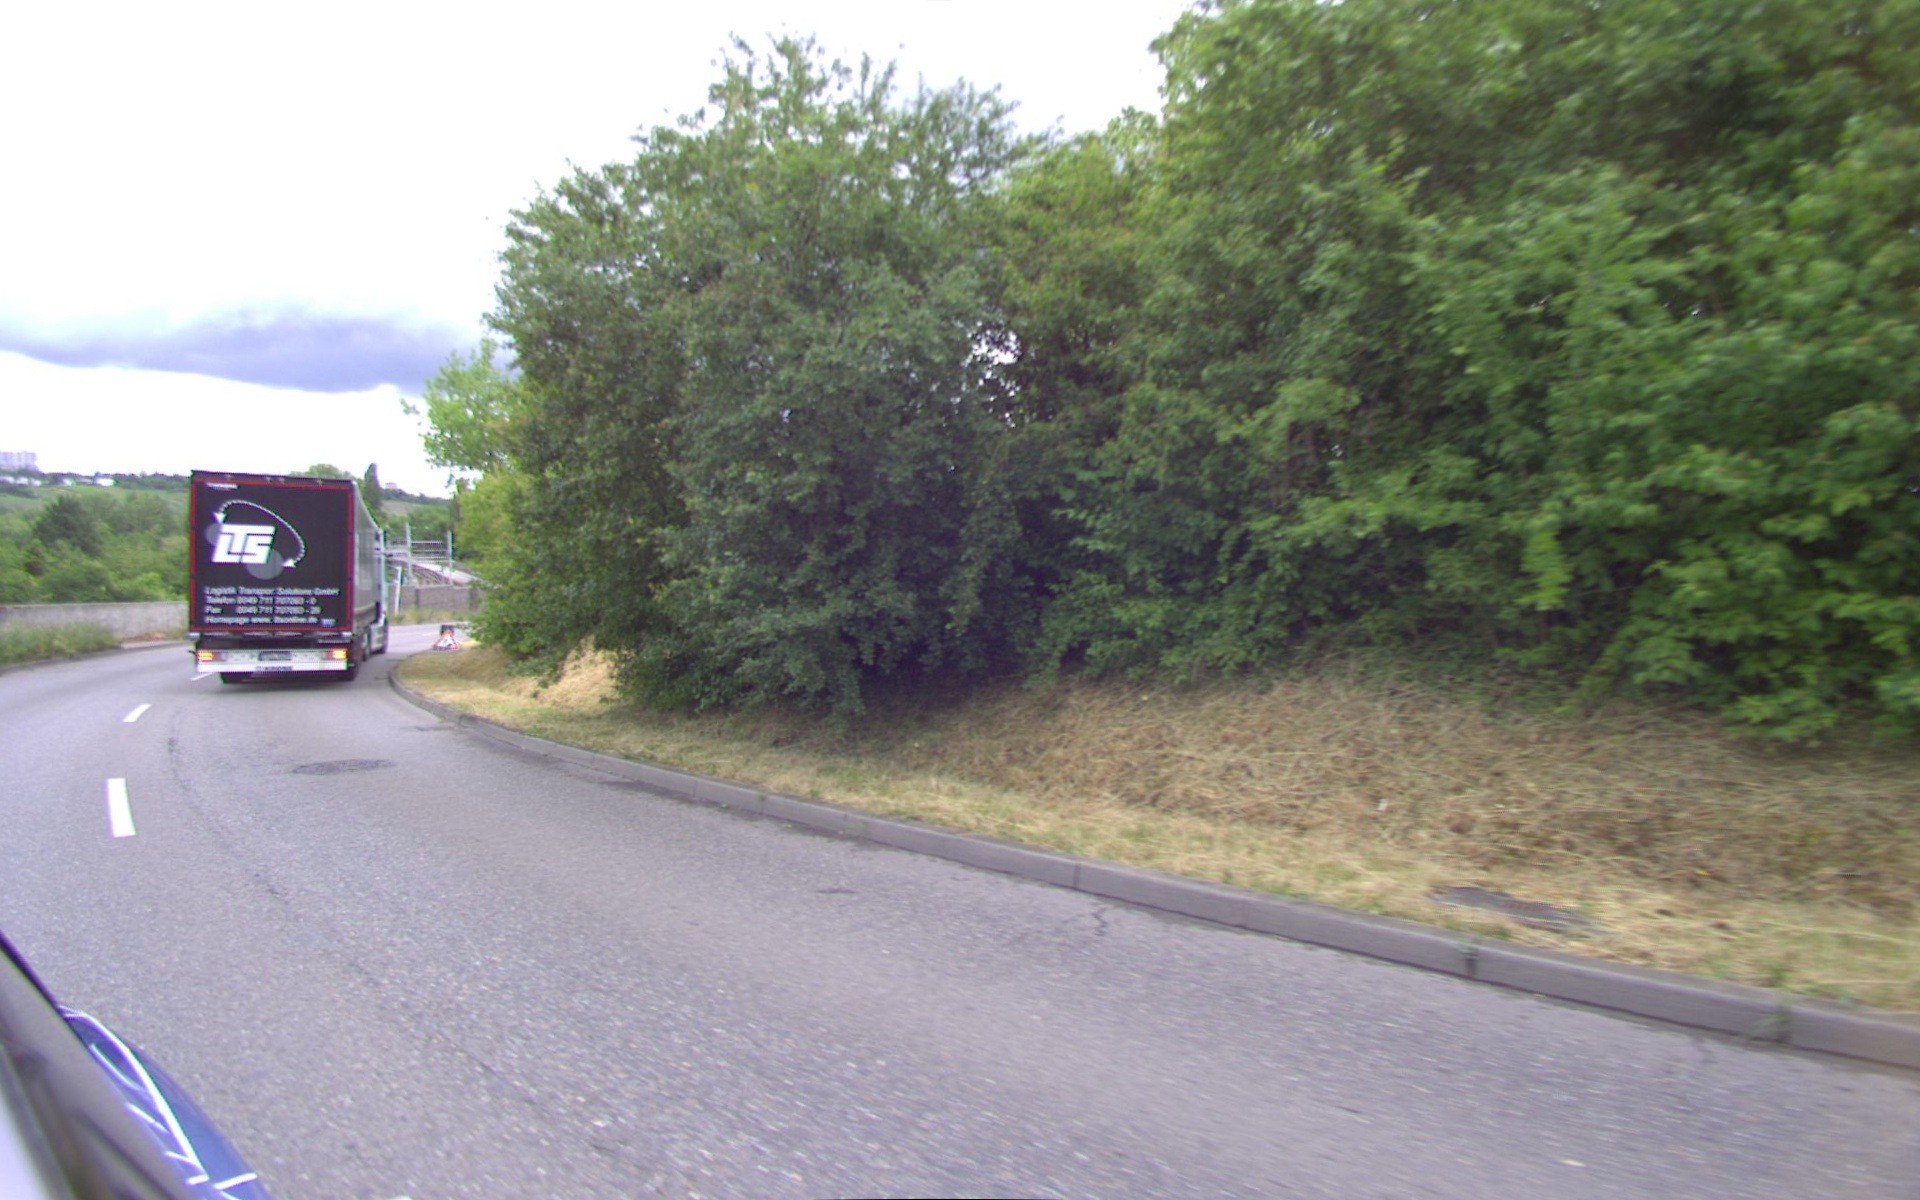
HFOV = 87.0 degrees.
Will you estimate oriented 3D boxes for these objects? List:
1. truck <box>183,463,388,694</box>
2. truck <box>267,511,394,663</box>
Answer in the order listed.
[{"bbox_3d":[-15.423,-0.289,24.171,2.666,3.980,13.878,2,-1,-28],"label":"truck"},{"bbox_3d":[-18.403,-0.302,29.941,2.666,3.980,6.350,2,-1,-28],"label":"truck"}]
